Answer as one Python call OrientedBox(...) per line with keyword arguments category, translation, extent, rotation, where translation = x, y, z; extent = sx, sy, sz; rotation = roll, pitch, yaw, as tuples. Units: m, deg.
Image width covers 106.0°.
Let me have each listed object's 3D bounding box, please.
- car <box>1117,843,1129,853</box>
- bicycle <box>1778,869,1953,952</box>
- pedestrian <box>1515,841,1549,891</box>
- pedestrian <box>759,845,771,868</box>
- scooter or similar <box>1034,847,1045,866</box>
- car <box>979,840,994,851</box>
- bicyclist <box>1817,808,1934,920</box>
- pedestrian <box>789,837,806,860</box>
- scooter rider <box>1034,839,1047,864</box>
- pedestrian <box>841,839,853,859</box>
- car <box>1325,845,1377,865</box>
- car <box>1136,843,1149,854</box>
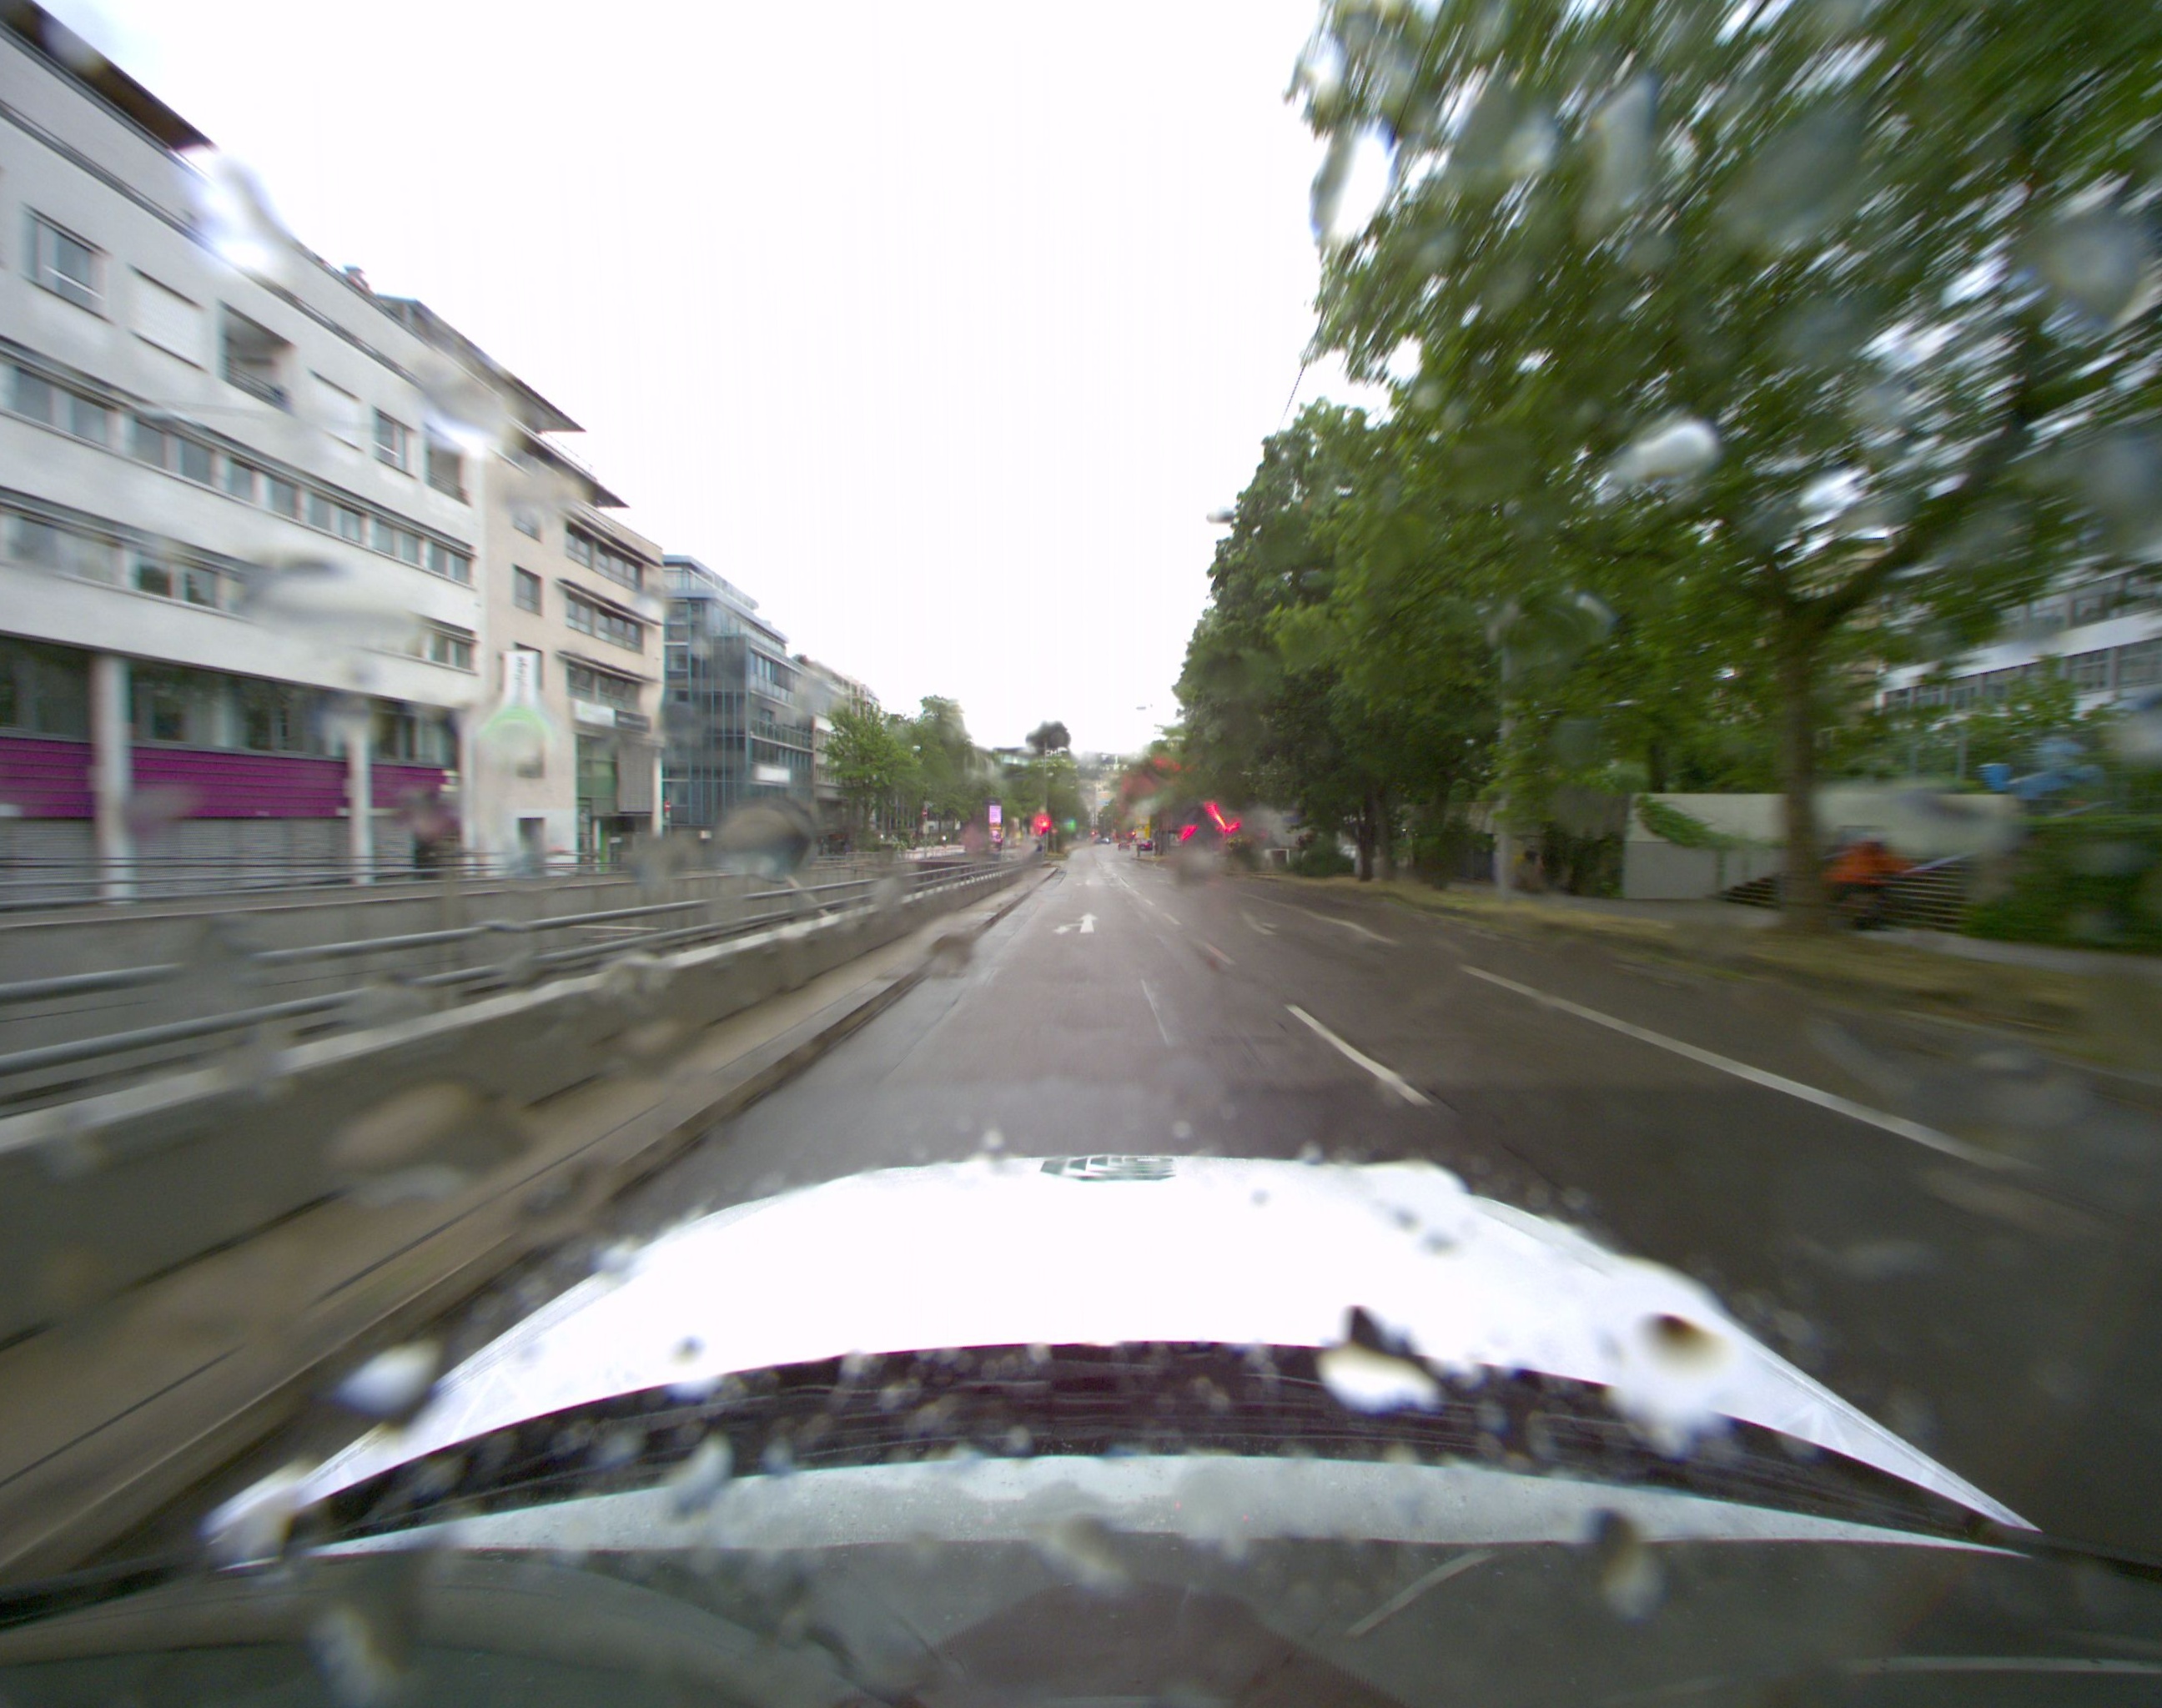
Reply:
OrientedBox(category="car", translation=(6.655, -0.945, 128.839), extent=(1.740, 1.519, 4.106), rotation=(1, 1, 0))
OrientedBox(category="bicycle", translation=(12.020, 0.815, 12.605), extent=(0.802, 1.112, 2.203), rotation=(0, 0, 7))
OrientedBox(category="pedestrian", translation=(17.148, 0.437, 30.992), extent=(0.802, 1.864, 1.059), rotation=(-1, 0, 9))
OrientedBox(category="pedestrian", translation=(-22.382, 0.182, 57.632), extent=(0.662, 1.671, 0.488), rotation=(0, 0, -1))
OrientedBox(category="scooter or similar", translation=(-3.257, 0.169, 63.806), extent=(0.546, 1.418, 1.946), rotation=(1, 0, -13))
OrientedBox(category="car", translation=(-14.591, -1.383, 125.646), extent=(1.775, 1.555, 3.893), rotation=(1, 3, -1))
OrientedBox(category="bicyclist", translation=(12.003, 0.143, 12.347), extent=(0.802, 1.628, 1.048), rotation=(0, 0, 7))
OrientedBox(category="pedestrian", translation=(-23.243, -0.450, 66.724), extent=(0.857, 1.868, 0.964), rotation=(1, 0, 19))
OrientedBox(category="scooter rider", translation=(-3.203, -0.207, 63.896), extent=(0.810, 1.948, 0.818), rotation=(1, 0, -14))
OrientedBox(category="pedestrian", translation=(-22.274, -0.499, 77.441), extent=(0.874, 1.868, 0.866), rotation=(2, 0, -2))
OrientedBox(category="car", translation=(23.874, 0.072, 71.981), extent=(4.364, 1.684, 1.737), rotation=(1, 0, -25))
OrientedBox(category="car", translation=(9.552, -0.871, 125.977), extent=(1.893, 1.684, 3.915), rotation=(1, 1, 4))
